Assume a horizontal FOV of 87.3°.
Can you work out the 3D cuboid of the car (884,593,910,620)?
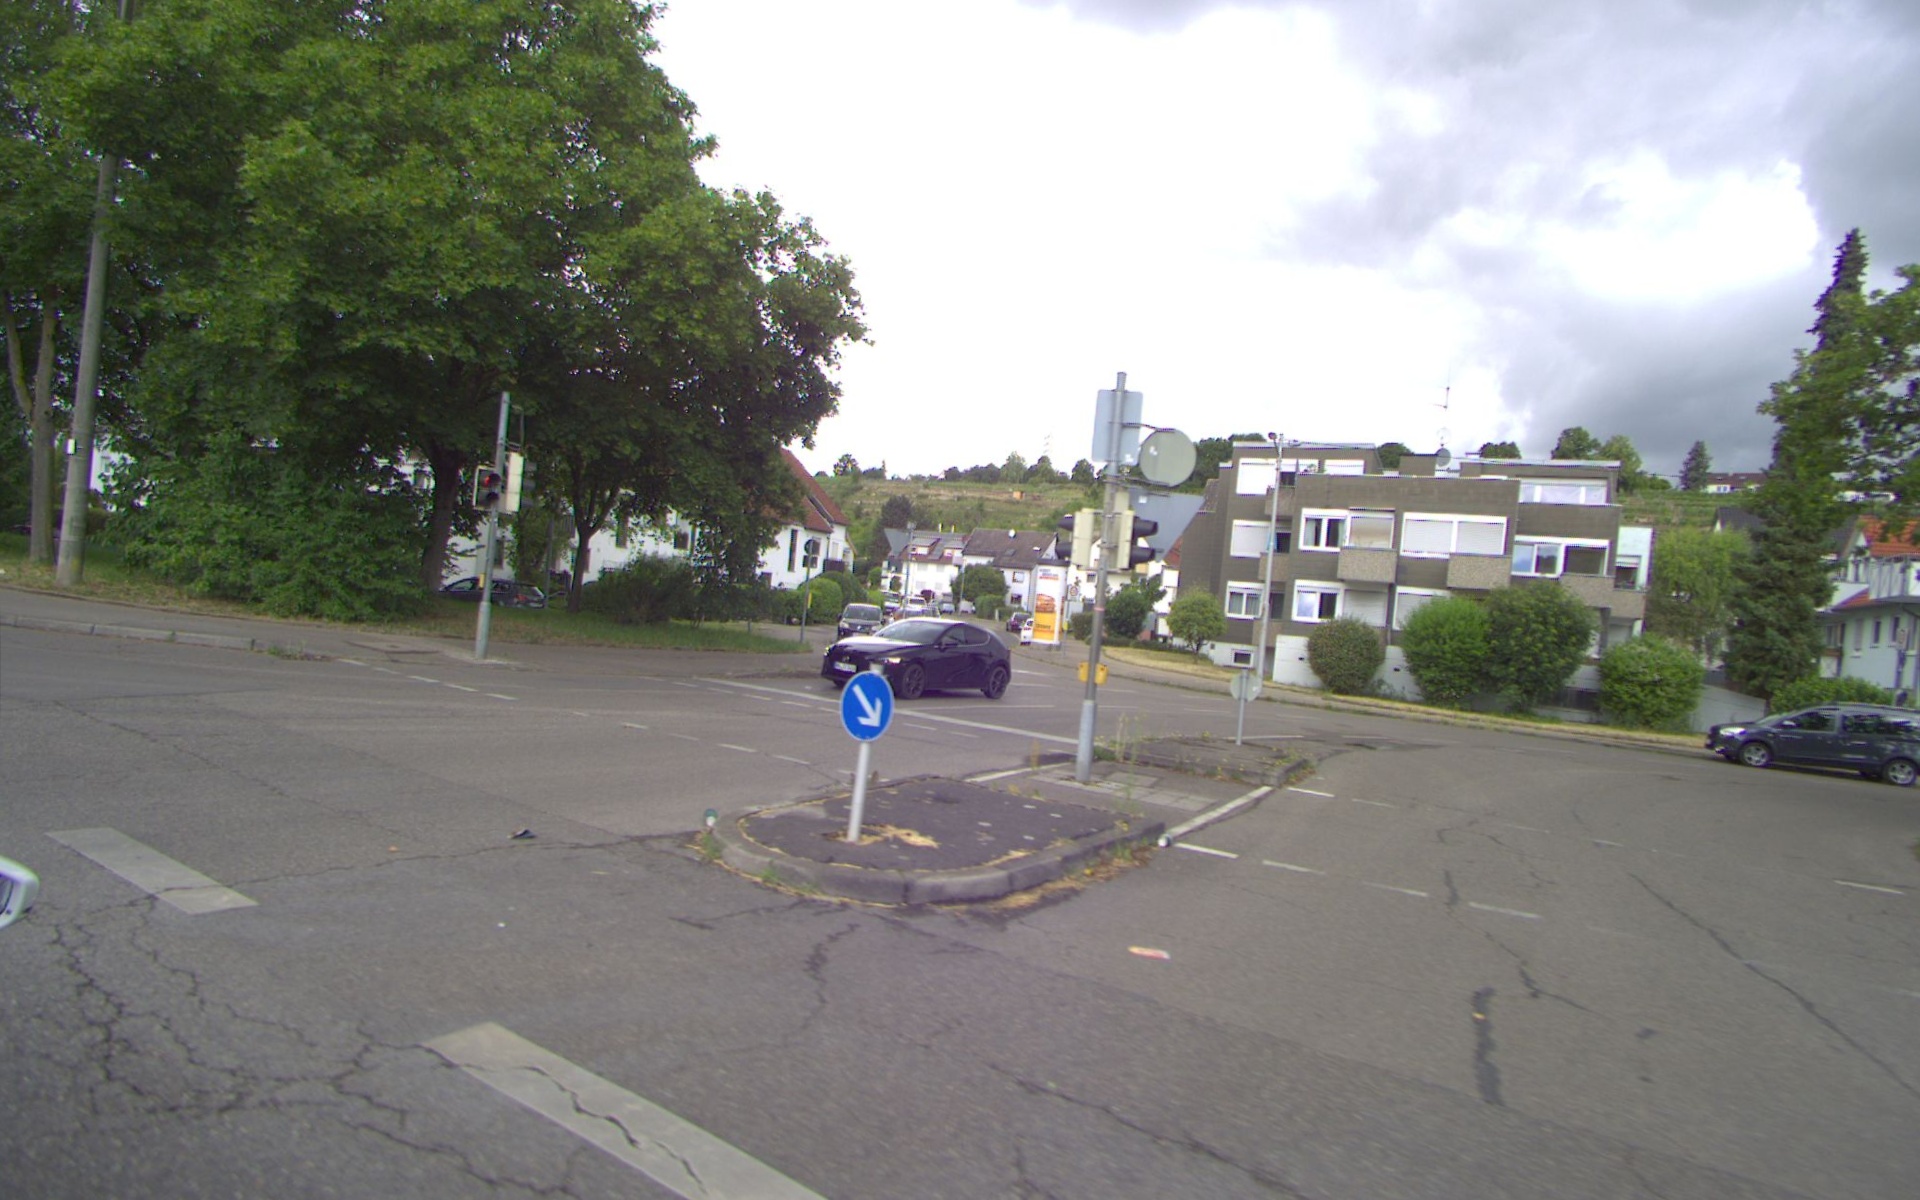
[{"bbox_3d":[-5.635,0.549,89.343,1.964,2.151,4.466,7,0,-4],"label":"car"}]

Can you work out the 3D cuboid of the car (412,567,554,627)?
[{"bbox_3d":[-16.305,-0.100,34.440,4.208,1.478,1.667,6,-2,16],"label":"car"}]

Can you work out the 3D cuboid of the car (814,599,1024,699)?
[{"bbox_3d":[-0.651,0.970,18.983,1.678,1.544,4.153,6,-1,35],"label":"car"}]

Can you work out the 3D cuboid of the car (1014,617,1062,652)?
[{"bbox_3d":[4.052,1.791,52.984,1.963,1.536,3.999,7,-1,-1],"label":"car"}]

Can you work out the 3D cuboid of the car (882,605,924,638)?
[{"bbox_3d":[-2.984,1.186,53.398,1.964,1.442,4.471,7,-3,-2],"label":"car"}]

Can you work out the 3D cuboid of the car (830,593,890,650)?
[{"bbox_3d":[-3.808,0.837,38.059,1.965,1.785,3.999,7,-2,-6],"label":"car"}]

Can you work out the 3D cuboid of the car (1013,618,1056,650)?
[{"bbox_3d":[4.270,1.924,58.456,1.963,1.536,3.999,7,-1,-1],"label":"car"}]

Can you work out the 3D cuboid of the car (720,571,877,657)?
[{"bbox_3d":[-4.665,0.440,29.442,3.975,2.038,1.975,7,0,-44],"label":"car"}]

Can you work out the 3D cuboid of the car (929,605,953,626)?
[{"bbox_3d":[-2.186,1.745,114.819,1.965,2.151,4.463,7,0,-8],"label":"car"}]

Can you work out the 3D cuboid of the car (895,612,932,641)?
[{"bbox_3d":[-2.721,1.626,60.172,1.963,1.442,4.472,7,-3,-1],"label":"car"}]

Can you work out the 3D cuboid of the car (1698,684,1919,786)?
[{"bbox_3d":[21.210,3.304,24.900,4.330,1.863,1.723,6,-2,26],"label":"car"}]

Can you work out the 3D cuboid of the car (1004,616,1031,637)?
[{"bbox_3d":[4.267,1.932,74.614,1.693,1.258,3.651,7,0,1],"label":"car"}]
